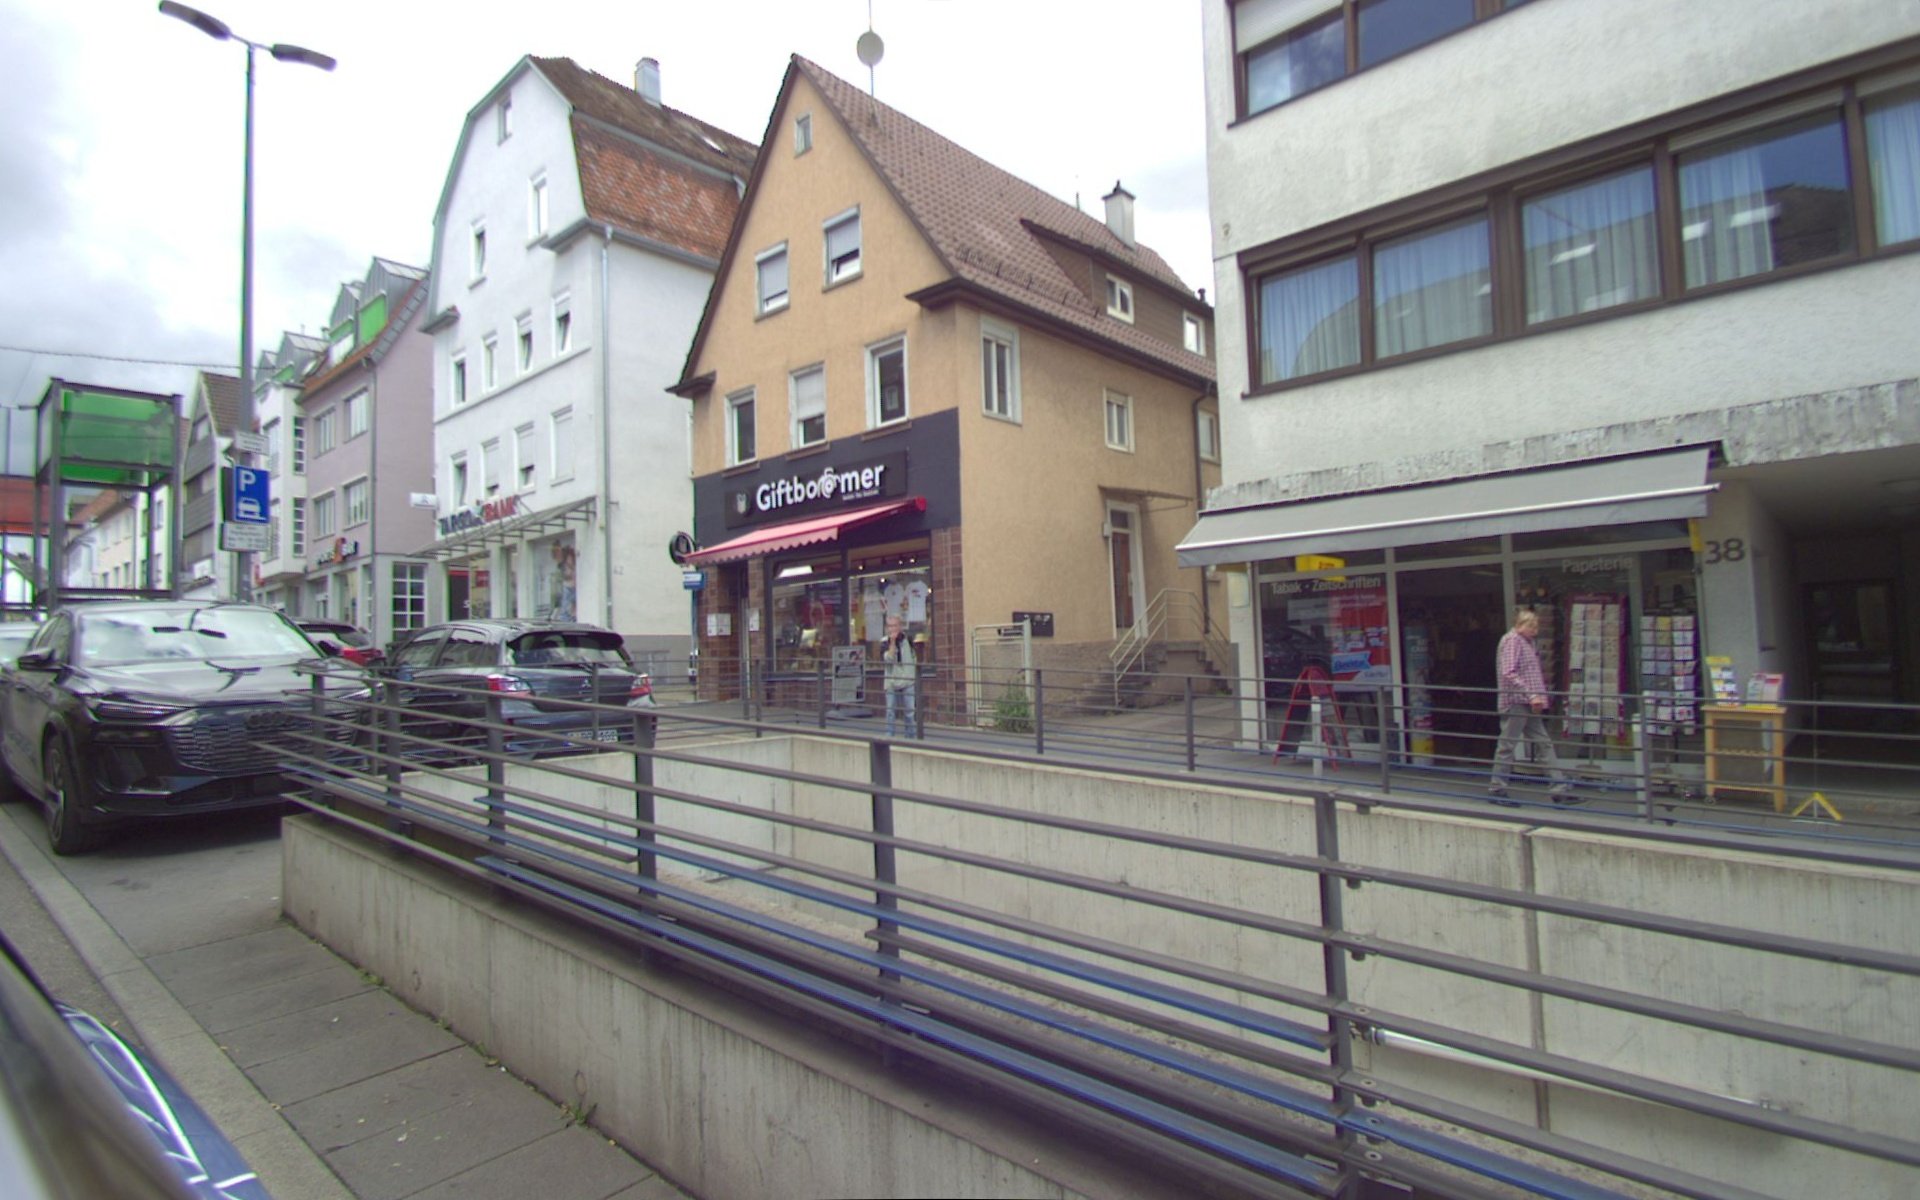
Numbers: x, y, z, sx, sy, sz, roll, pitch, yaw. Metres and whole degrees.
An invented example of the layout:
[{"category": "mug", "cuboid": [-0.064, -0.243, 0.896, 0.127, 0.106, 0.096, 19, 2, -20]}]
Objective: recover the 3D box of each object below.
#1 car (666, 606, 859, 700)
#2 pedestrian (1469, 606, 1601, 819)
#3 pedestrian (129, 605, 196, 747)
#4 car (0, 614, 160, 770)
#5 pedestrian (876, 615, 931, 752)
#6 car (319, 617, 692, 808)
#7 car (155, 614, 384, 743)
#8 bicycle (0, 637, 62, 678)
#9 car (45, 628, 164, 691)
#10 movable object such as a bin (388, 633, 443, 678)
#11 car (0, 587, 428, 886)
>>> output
[{"category": "car", "cuboid": [-4.509, 1.150, 23.486, 1.883, 1.887, 4.026, -2, -1, 43]}, {"category": "pedestrian", "cuboid": [4.905, 0.918, 8.647, 0.632, 1.702, 0.828, 3, -3, -44]}, {"category": "pedestrian", "cuboid": [-9.887, 0.917, 12.540, 0.901, 1.685, 0.527, -3, -3, 44]}, {"category": "car", "cuboid": [-10.732, 0.966, 11.778, 3.669, 1.544, 1.603, -1, -1, 41]}, {"category": "pedestrian", "cuboid": [-0.737, 1.056, 12.993, 0.635, 1.702, 0.667, 0, -3, -9]}, {"category": "car", "cuboid": [-4.502, 0.974, 9.805, 3.881, 1.487, 1.721, -1, -5, 40]}, {"category": "car", "cuboid": [-9.924, 1.006, 14.426, 4.191, 1.554, 1.721, -1, -1, 41]}, {"category": "bicycle", "cuboid": [-28.929, 1.768, 31.216, 0.459, 1.232, 1.760, -1, -3, 40]}, {"category": "car", "cuboid": [-21.892, 1.476, 25.853, 3.850, 1.486, 1.553, -1, -3, 38]}, {"category": "movable object such as a bin", "cuboid": [-17.549, 1.771, 32.636, 1.067, 1.387, 1.270, -2, -2, 41]}, {"category": "car", "cuboid": [-5.988, 0.788, 7.744, 4.311, 1.652, 1.936, -1, -1, 40]}]
